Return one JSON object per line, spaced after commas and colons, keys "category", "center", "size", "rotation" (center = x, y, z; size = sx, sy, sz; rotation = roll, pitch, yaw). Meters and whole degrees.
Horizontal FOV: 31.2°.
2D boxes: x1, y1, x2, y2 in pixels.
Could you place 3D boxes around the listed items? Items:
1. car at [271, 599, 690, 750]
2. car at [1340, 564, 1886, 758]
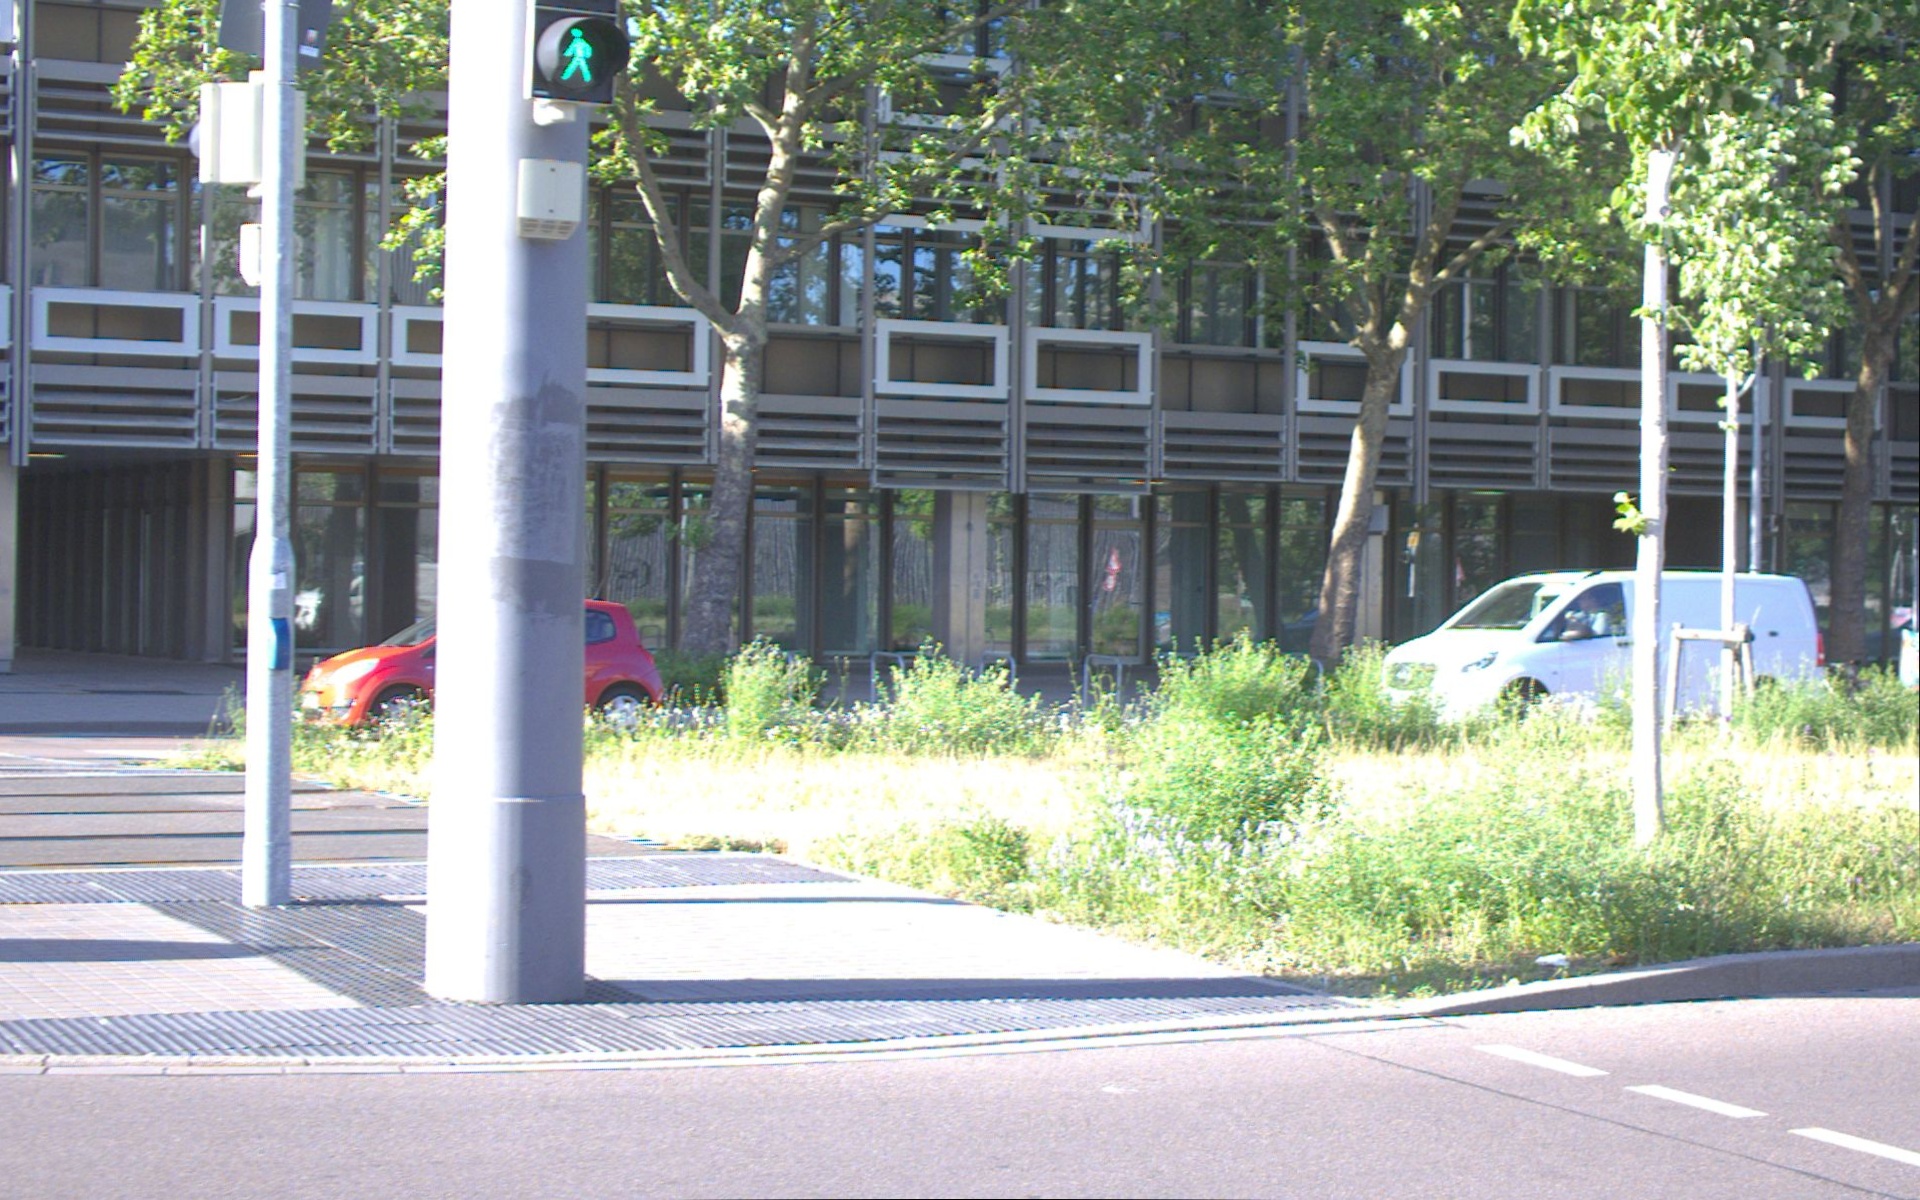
{"category": "car", "center": [-4.929, 0.778, 35.345], "size": [3.866, 1.481, 1.846], "rotation": [1, -3, -27]}
{"category": "car", "center": [7.194, 0.695, 37.778], "size": [5.689, 2.007, 2.266], "rotation": [1, -2, -27]}
